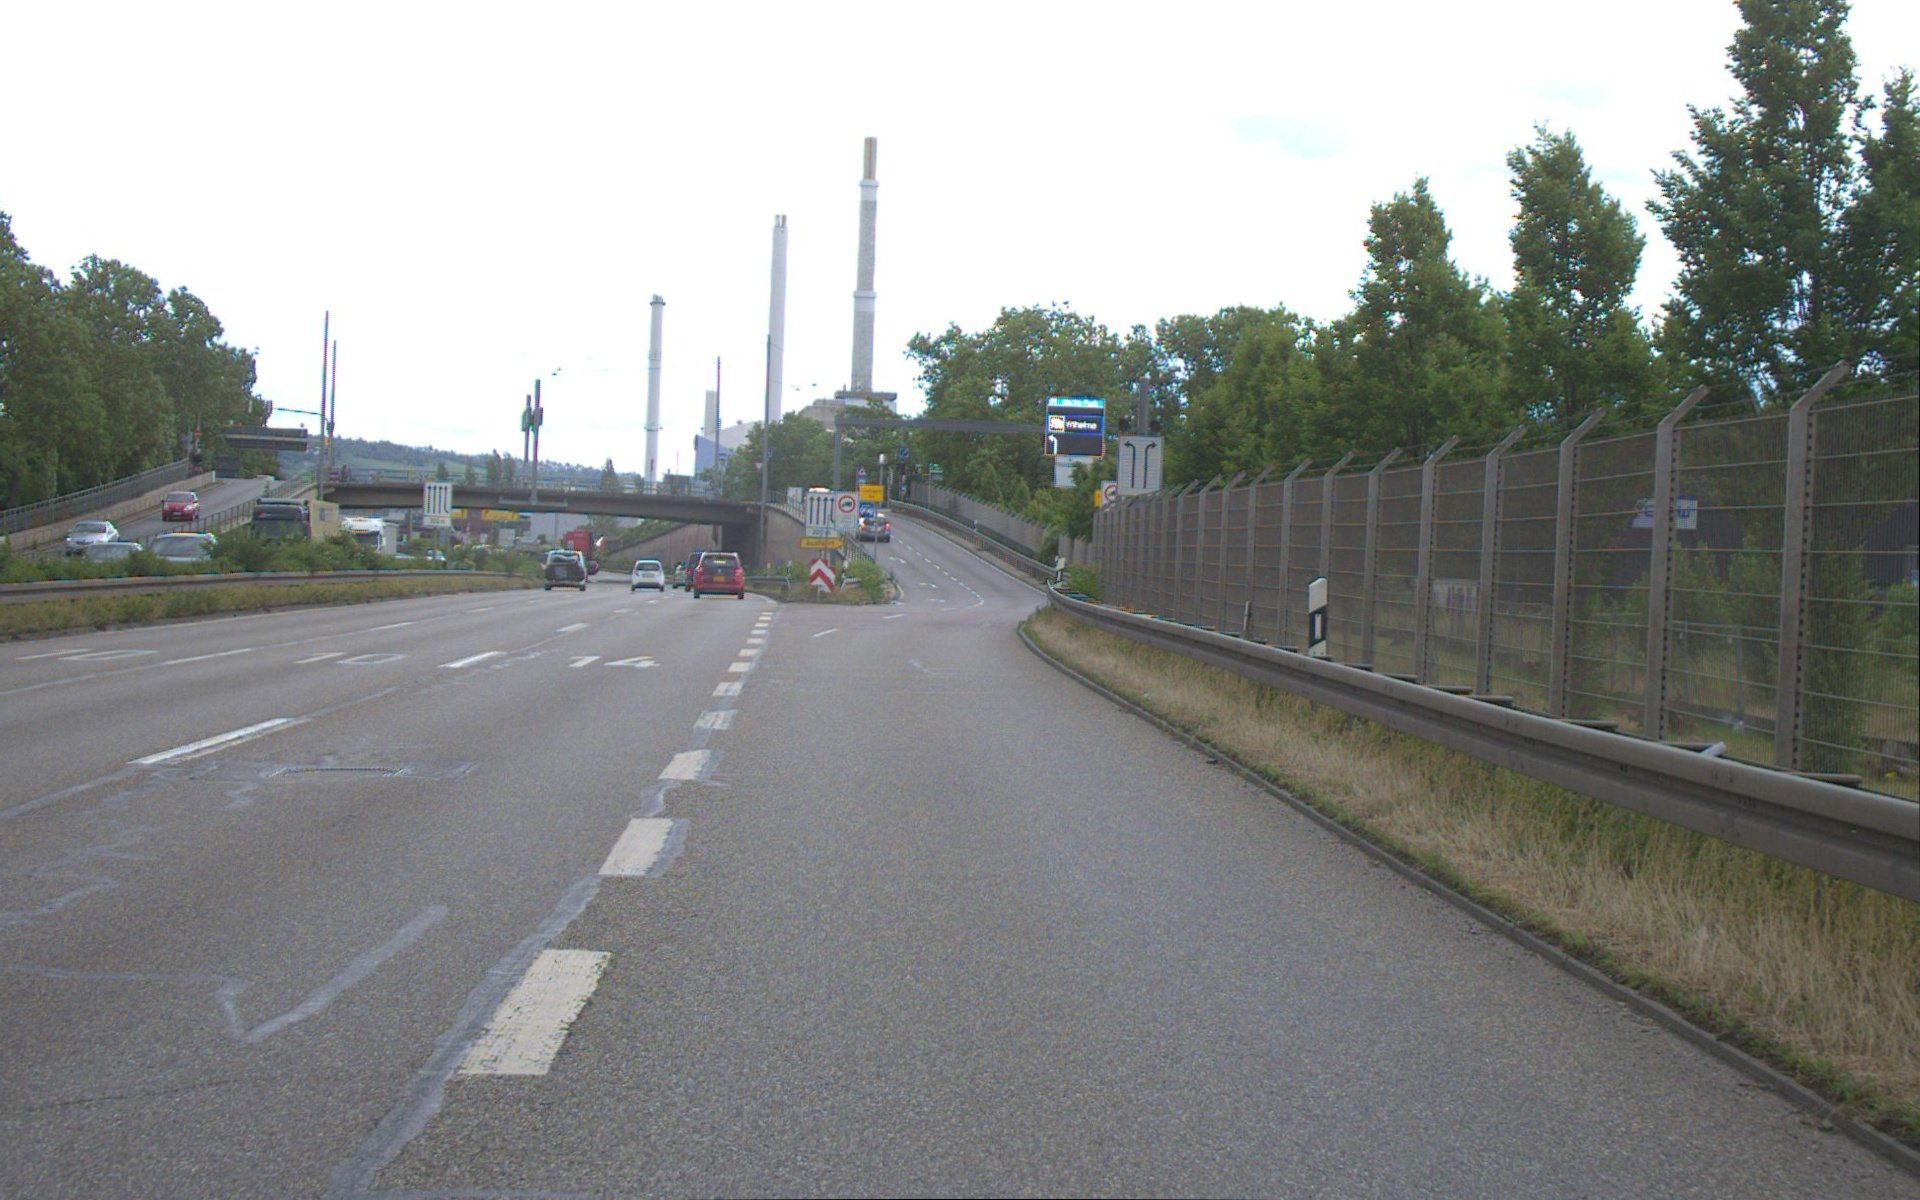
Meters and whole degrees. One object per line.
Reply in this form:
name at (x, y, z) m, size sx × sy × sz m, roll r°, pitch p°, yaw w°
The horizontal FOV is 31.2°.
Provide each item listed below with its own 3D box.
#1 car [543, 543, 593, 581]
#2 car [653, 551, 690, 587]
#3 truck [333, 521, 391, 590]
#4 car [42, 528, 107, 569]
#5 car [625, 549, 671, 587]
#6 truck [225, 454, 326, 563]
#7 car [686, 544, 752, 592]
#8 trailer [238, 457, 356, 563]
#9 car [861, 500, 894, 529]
car at (-18.413, -1.799, 161.487) m, size 1.993 × 1.678 × 4.001 m, roll 3°, pitch 1°, yaw -3°
car at (-17.391, -1.881, 207.079) m, size 1.917 × 2.007 × 4.001 m, roll 3°, pitch 1°, yaw -7°
truck at (-35.322, -2.606, 203.199) m, size 2.789 × 3.924 × 5.313 m, roll 3°, pitch 0°, yaw -5°
car at (-39.001, -2.265, 151.429) m, size 1.993 × 1.638 × 4.605 m, roll 3°, pitch 1°, yaw -6°
car at (-15.336, -1.589, 169.275) m, size 1.993 × 1.678 × 4.001 m, roll 3°, pitch 1°, yaw -3°
truck at (-30.939, -4.089, 155.622) m, size 3.463 × 4.657 × 6.212 m, roll 2°, pitch 0°, yaw -4°
car at (-7.980, -1.072, 113.606) m, size 1.993 × 1.415 × 4.001 m, roll 3°, pitch 1°, yaw -5°
trailer at (-31.419, -4.166, 163.500) m, size 3.463 × 4.657 × 14.784 m, roll 2°, pitch 0°, yaw -4°
car at (-4.735, -4.888, 197.178) m, size 1.750 × 1.575 × 4.085 m, roll 0°, pitch 1°, yaw 1°
